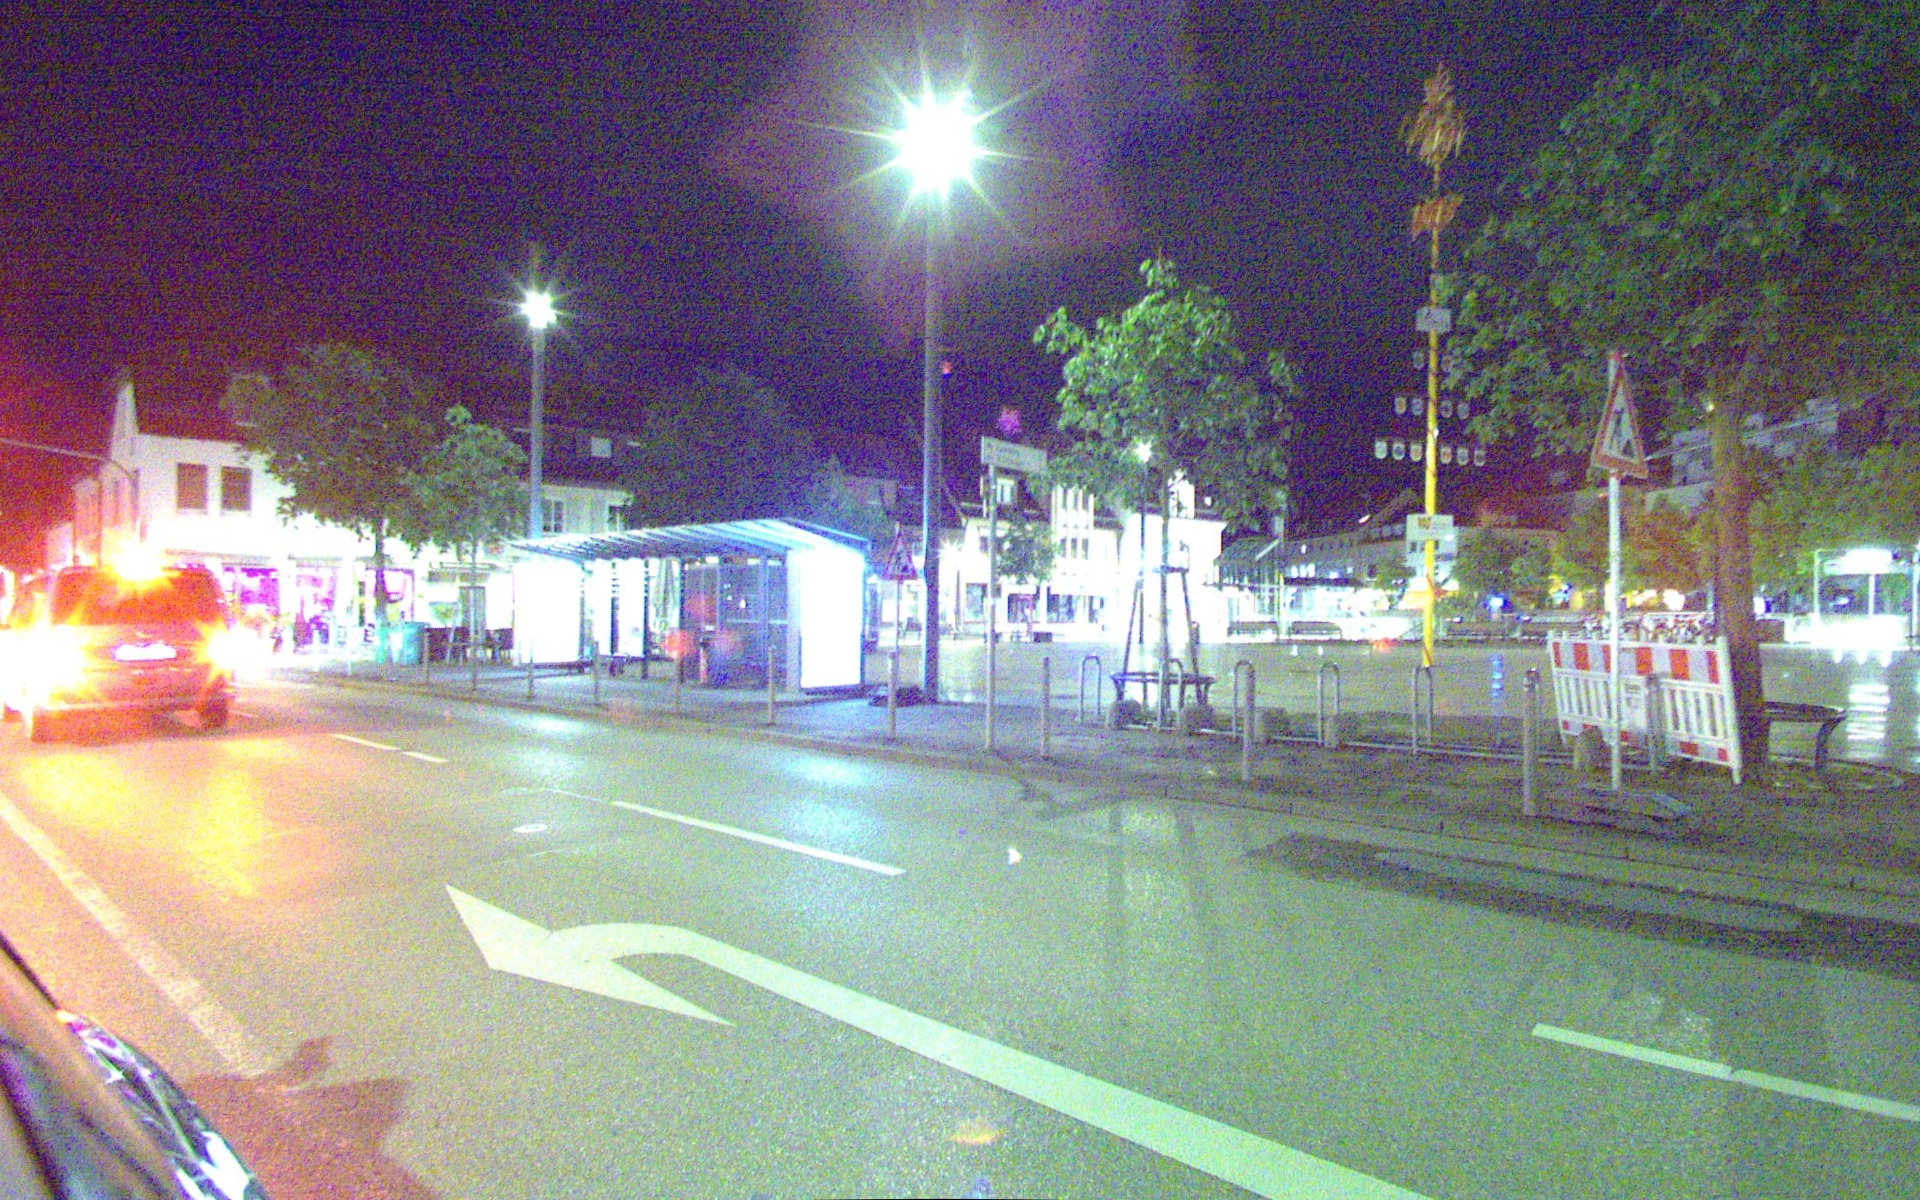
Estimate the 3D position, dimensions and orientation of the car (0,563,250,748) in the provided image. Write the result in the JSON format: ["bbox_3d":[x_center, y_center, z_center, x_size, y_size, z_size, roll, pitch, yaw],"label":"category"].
[{"bbox_3d":[-10.749,0.601,12.701,4.911,1.886,1.946,-1,-1,42],"label":"car"}]

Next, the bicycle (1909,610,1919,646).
[{"bbox_3d":[26.408,0.741,26.971,1.525,0.965,0.476,-1,0,25],"label":"bicycle"}]
